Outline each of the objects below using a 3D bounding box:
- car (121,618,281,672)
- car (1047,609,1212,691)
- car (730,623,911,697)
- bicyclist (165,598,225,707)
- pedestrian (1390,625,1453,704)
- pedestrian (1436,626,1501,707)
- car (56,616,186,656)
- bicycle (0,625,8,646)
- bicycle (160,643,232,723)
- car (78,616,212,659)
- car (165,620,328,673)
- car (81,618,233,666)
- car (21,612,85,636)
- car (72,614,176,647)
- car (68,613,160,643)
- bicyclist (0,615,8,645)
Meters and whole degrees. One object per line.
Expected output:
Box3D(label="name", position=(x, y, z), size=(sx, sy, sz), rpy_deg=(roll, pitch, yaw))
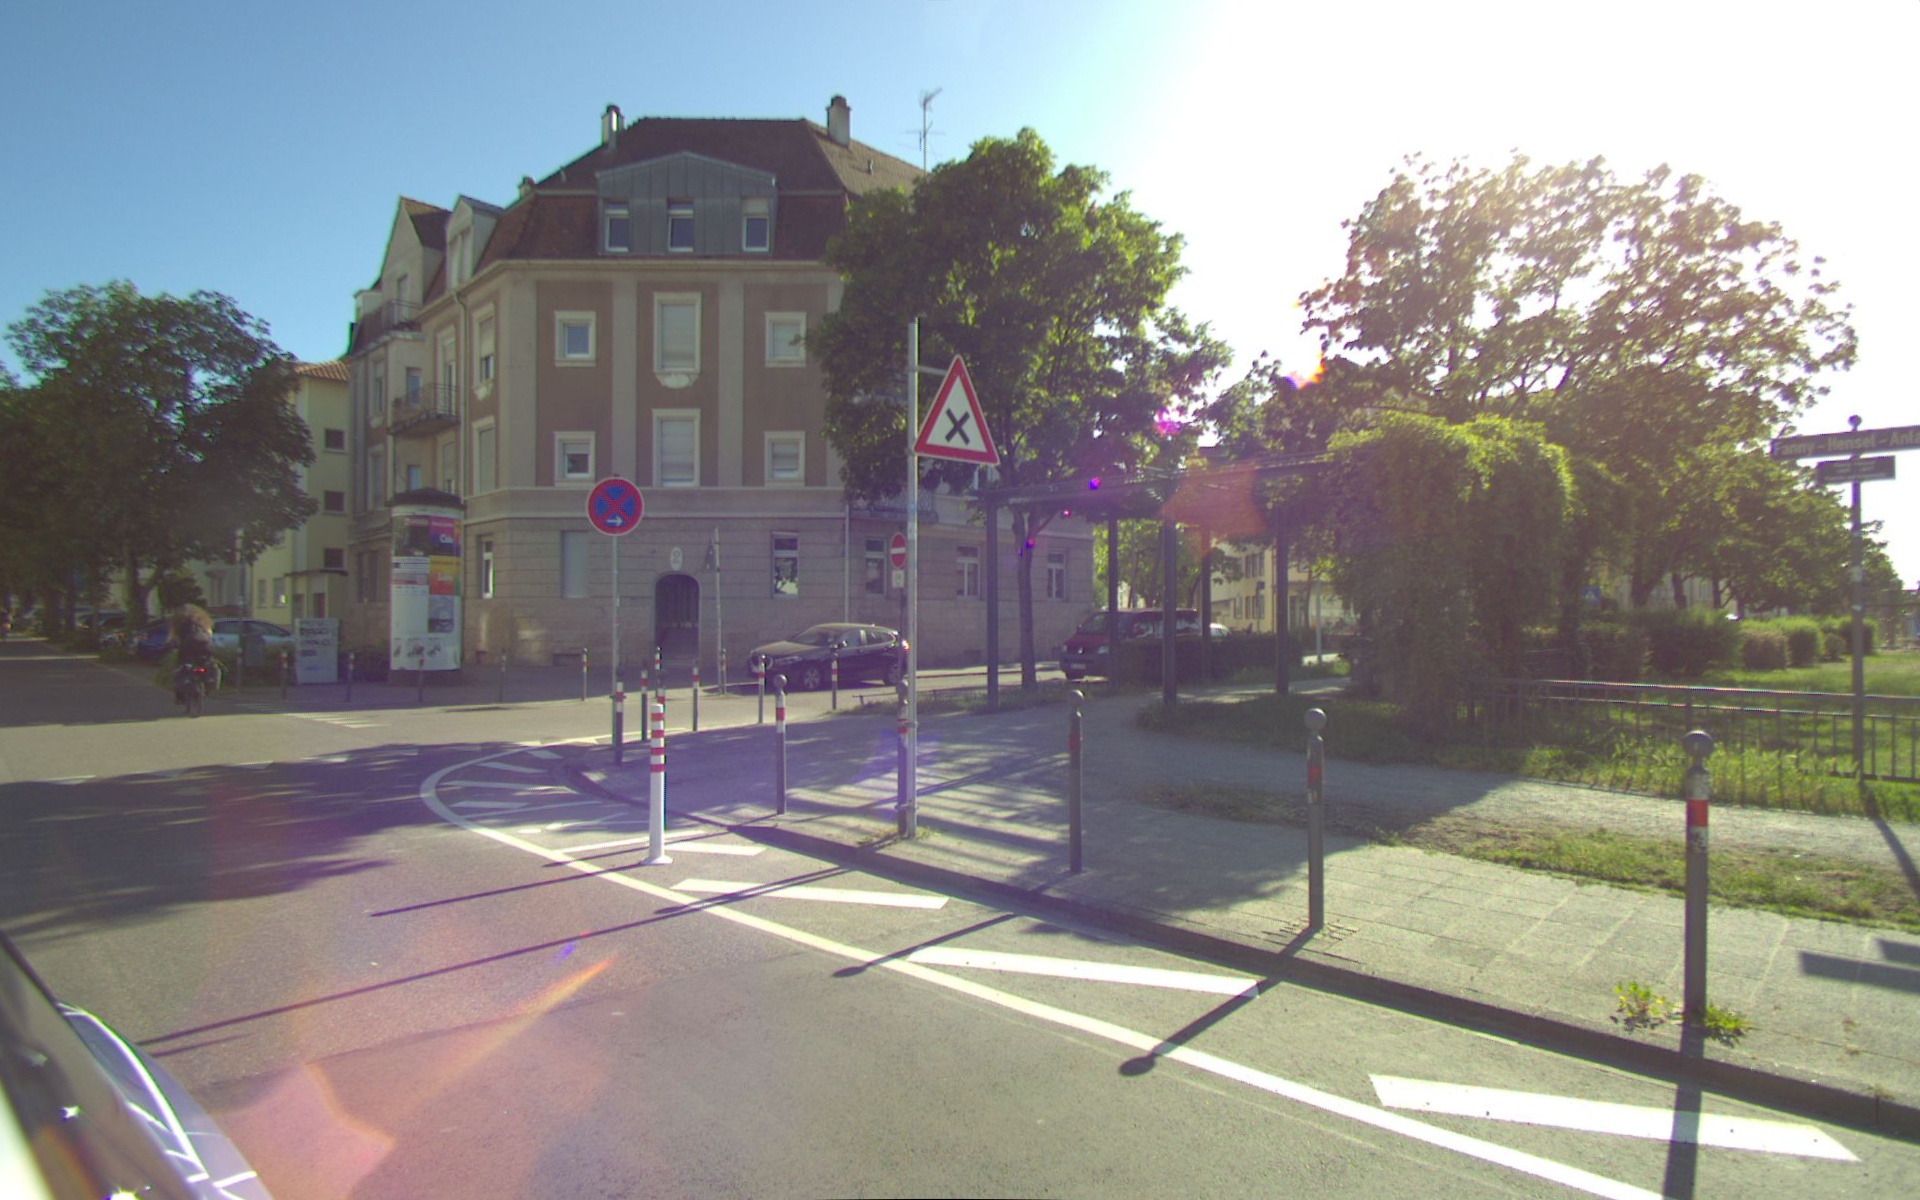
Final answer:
Box3D(label="car", position=(-23.575, 1.359, 31.517), size=(1.692, 1.506, 3.739), rpy_deg=(-1, -1, 42))
Box3D(label="car", position=(4.628, 1.274, 27.188), size=(4.814, 1.975, 1.898), rpy_deg=(2, 0, -45))
Box3D(label="car", position=(-3.226, 1.348, 23.946), size=(1.868, 1.494, 3.959), rpy_deg=(3, 1, 42))
Box3D(label="bicyclist", position=(-11.840, 0.801, 15.664), size=(0.635, 1.632, 0.637), rpy_deg=(1, -2, -44))
Box3D(label="pedestrian", position=(7.024, 0.965, 15.394), size=(0.833, 1.158, 0.599), rpy_deg=(2, -2, -44))
Box3D(label="pedestrian", position=(7.488, 0.952, 14.895), size=(0.862, 1.147, 0.599), rpy_deg=(2, -2, -44))
Box3D(label="car", position=(-34.167, 1.427, 41.289), size=(1.686, 1.506, 3.751), rpy_deg=(-1, -1, 31))
Box3D(label="bicycle", position=(-51.240, 1.898, 53.980), size=(0.635, 1.117, 2.067), rpy_deg=(1, -2, -44))
Box3D(label="bicycle", position=(-11.836, 1.239, 15.652), size=(0.635, 1.117, 2.067), rpy_deg=(1, -2, -44))
Box3D(label="car", position=(-31.645, 1.423, 39.400), size=(1.686, 1.506, 3.751), rpy_deg=(-1, -1, 31))
Box3D(label="car", position=(-21.471, 1.354, 30.547), size=(1.692, 1.455, 3.739), rpy_deg=(-1, -1, 42))
Box3D(label="car", position=(-27.497, 1.402, 34.768), size=(1.686, 1.506, 3.751), rpy_deg=(-1, -1, 31))
Box3D(label="car", position=(-67.981, 1.798, 75.891), size=(1.692, 1.716, 3.481), rpy_deg=(-1, -1, 43))
Box3D(label="car", position=(-41.547, 1.480, 50.343), size=(1.691, 1.506, 3.741), rpy_deg=(-1, -1, 39))
Box3D(label="car", position=(-44.724, 1.473, 53.529), size=(1.691, 1.506, 3.484), rpy_deg=(-1, -1, 39))
Box3D(label="bicyclist", position=(-51.308, 1.584, 54.066), size=(0.635, 1.578, 1.043), rpy_deg=(1, -2, -44))
